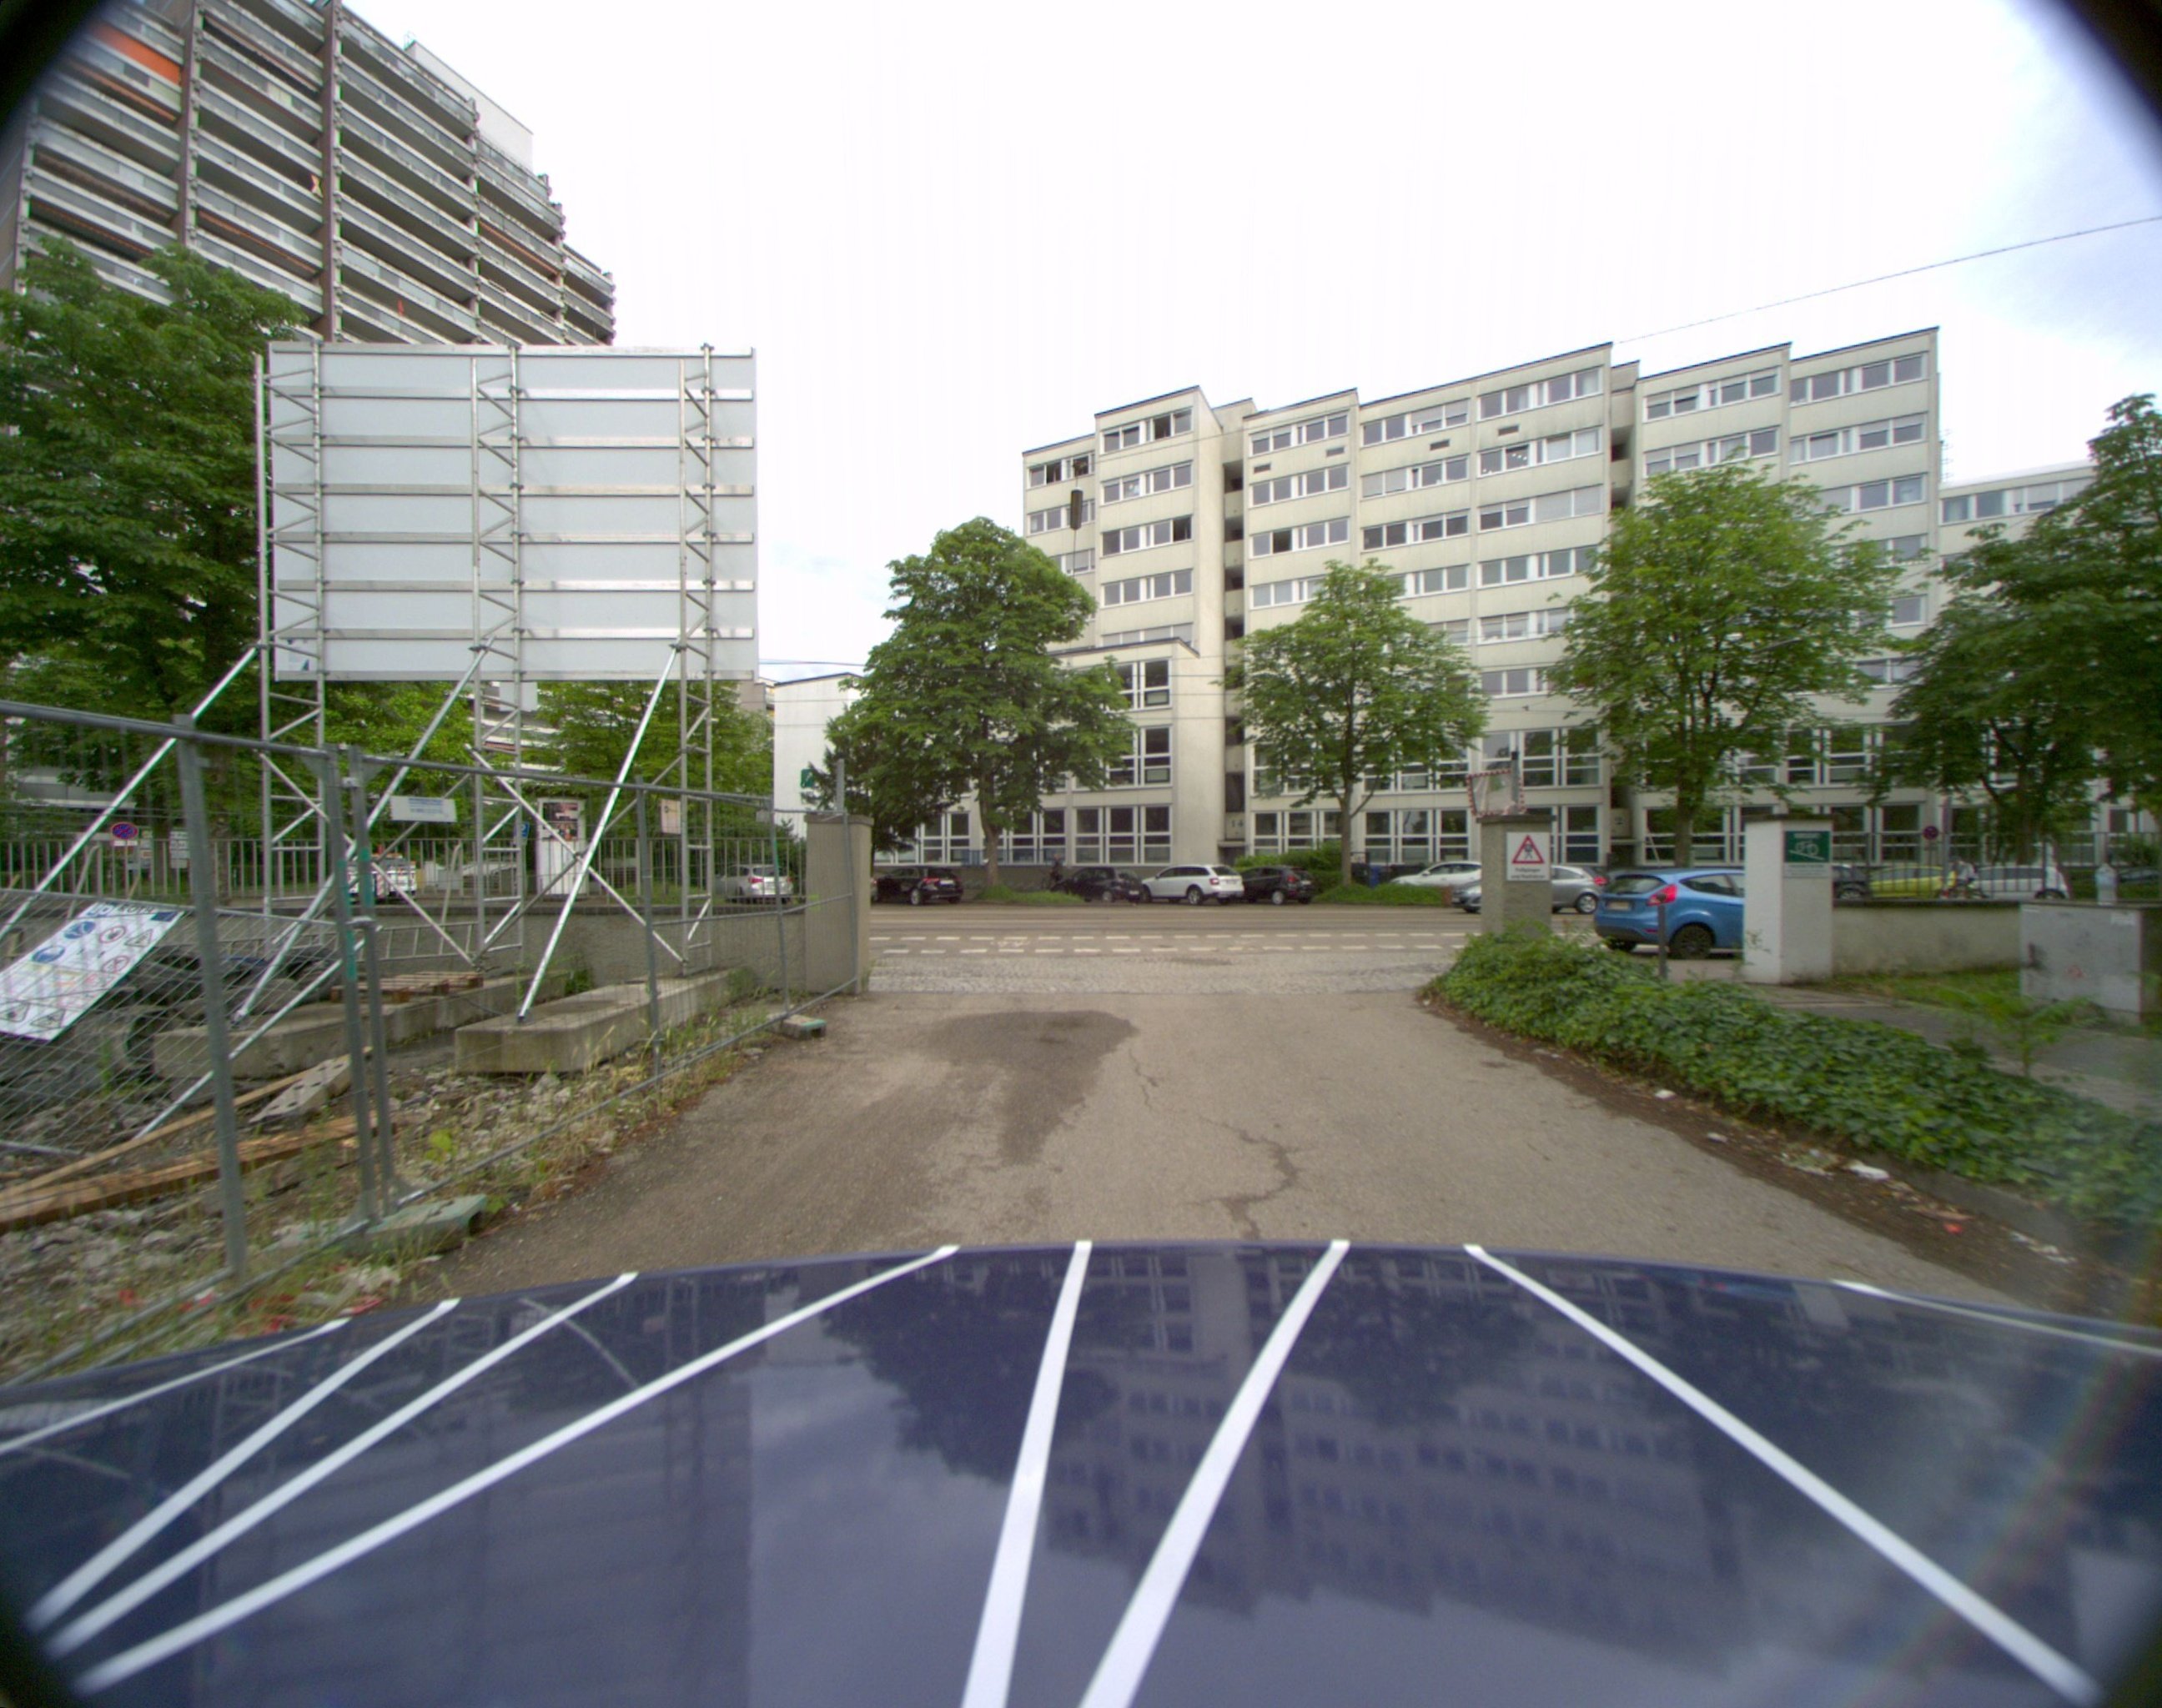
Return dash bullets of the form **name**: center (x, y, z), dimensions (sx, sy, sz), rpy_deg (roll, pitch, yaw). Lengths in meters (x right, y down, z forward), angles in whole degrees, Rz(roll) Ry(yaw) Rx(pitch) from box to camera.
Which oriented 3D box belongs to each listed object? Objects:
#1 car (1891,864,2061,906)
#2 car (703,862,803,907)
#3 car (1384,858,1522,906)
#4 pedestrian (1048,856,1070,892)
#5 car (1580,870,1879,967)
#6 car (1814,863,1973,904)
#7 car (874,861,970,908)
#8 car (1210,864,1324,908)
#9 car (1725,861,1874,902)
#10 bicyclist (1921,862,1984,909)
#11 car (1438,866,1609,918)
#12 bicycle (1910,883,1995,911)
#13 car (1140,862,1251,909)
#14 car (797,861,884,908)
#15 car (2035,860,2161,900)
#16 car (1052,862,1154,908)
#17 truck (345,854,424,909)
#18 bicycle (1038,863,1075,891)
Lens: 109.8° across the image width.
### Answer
- **car**: center (33.201, 1.108, 28.373), dimensions (1.703, 1.344, 3.956), rpy_deg (-1, 2, -45)
- **car**: center (-12.314, 1.093, 28.406), dimensions (4.419, 1.456, 1.807), rpy_deg (1, 1, 43)
- **car**: center (13.860, 0.984, 28.474), dimensions (4.333, 1.547, 1.703), rpy_deg (1, 2, 41)
- **pedestrian**: center (-1.017, 0.923, 34.839), dimensions (0.753, 1.602, 0.735), rpy_deg (2, 2, 21)
- **car**: center (10.389, 1.002, 12.373), dimensions (3.430, 1.451, 1.680), rpy_deg (0, -1, 0)
- **car**: center (30.252, 1.049, 28.458), dimensions (1.703, 1.344, 3.956), rpy_deg (-1, 2, -45)
- **car**: center (-5.878, 1.065, 27.885), dimensions (1.703, 1.515, 3.695), rpy_deg (-1, 2, -44)
- **car**: center (6.922, 1.140, 28.607), dimensions (1.703, 1.398, 4.017), rpy_deg (-1, 2, -37)
- **car**: center (26.904, 0.968, 28.546), dimensions (1.703, 1.344, 3.956), rpy_deg (-1, 2, -45)
- **bicyclist**: center (27.864, 0.991, 24.306), dimensions (1.026, 1.491, 0.846), rpy_deg (0, 0, 1)
- **car**: center (12.814, 1.070, 22.162), dimensions (3.998, 1.420, 1.746), rpy_deg (0, 0, -2)
- **bicycle**: center (27.944, 1.366, 24.375), dimensions (2.137, 0.863, 0.470), rpy_deg (0, 0, 1)
- **car**: center (4.184, 1.105, 28.286), dimensions (1.703, 1.476, 4.017), rpy_deg (-1, 2, -37)
- **car**: center (-8.876, 1.070, 27.952), dimensions (1.576, 1.515, 3.640), rpy_deg (-2, 2, -44)
- **car**: center (38.364, 0.930, 27.897), dimensions (1.703, 1.344, 3.956), rpy_deg (-1, 2, -45)
- **car**: center (0.777, 1.101, 28.484), dimensions (1.703, 1.515, 3.695), rpy_deg (-1, 2, -44)
- **truck**: center (-26.134, 0.952, 28.446), dimensions (2.004, 1.838, 5.049), rpy_deg (-1, 1, -44)
- **bicycle**: center (-1.112, 1.050, 34.268), dimensions (1.593, 1.260, 0.406), rpy_deg (0, 0, 9)
